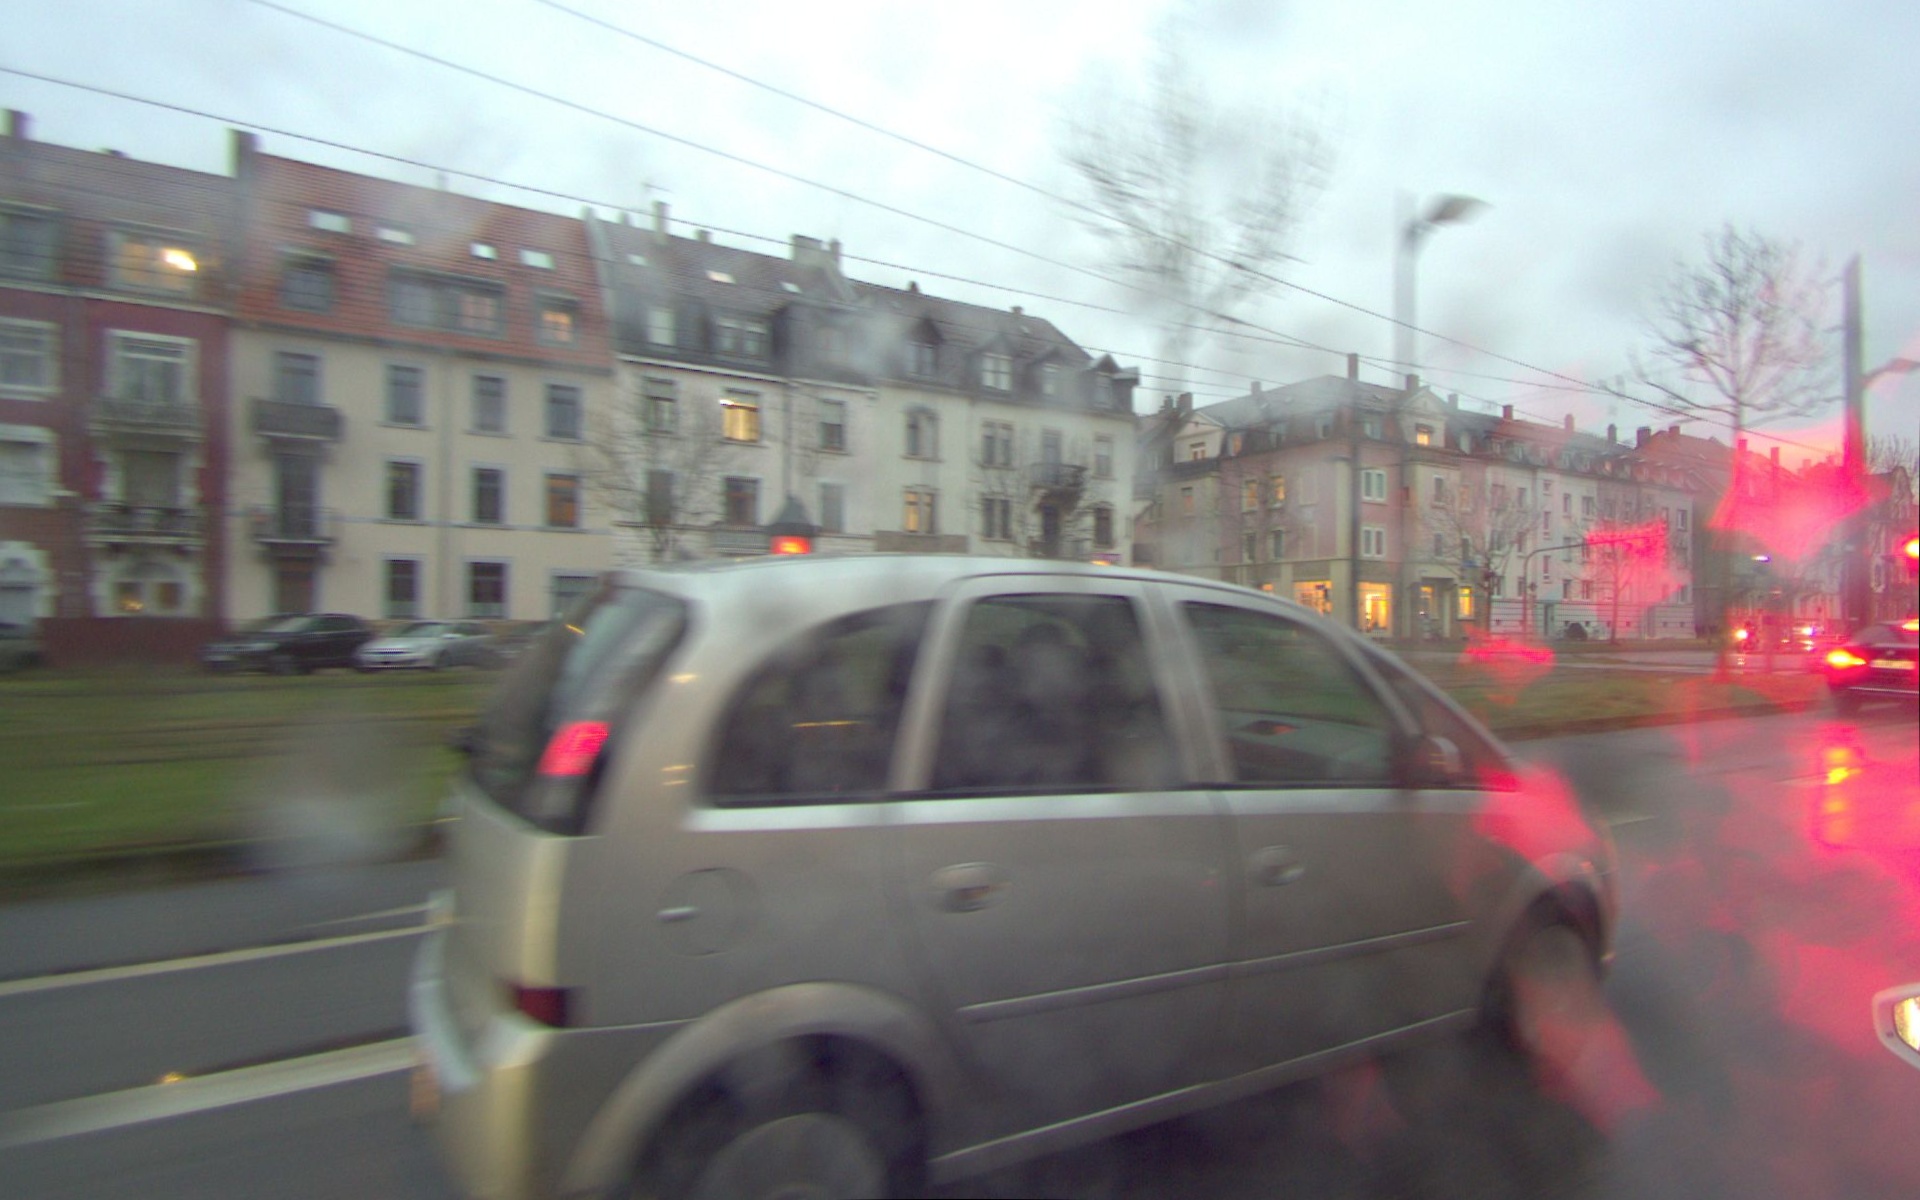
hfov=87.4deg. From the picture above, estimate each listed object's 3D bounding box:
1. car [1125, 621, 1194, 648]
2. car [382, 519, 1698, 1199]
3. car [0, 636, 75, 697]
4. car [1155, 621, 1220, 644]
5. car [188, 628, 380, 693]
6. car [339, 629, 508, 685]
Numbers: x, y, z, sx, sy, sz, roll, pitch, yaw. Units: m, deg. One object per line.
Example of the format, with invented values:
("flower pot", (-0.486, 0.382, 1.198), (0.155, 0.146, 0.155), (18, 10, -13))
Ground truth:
("car", (11.558, 1.975, 58.472), (1.774, 1.505, 3.967), (1, -2, -31))
("car", (0.428, 0.726, 3.289), (4.007, 1.621, 1.800), (1, -1, -31))
("car", (-22.236, 1.464, 21.964), (1.959, 1.349, 4.003), (0, -2, 7))
("car", (15.126, 2.129, 66.873), (1.981, 1.439, 3.960), (1, -1, -36))
("car", (-16.844, 1.478, 25.312), (1.960, 1.505, 4.002), (0, -2, 4))
("car", (-13.957, 1.446, 26.436), (1.959, 1.349, 4.003), (0, -2, 7))
